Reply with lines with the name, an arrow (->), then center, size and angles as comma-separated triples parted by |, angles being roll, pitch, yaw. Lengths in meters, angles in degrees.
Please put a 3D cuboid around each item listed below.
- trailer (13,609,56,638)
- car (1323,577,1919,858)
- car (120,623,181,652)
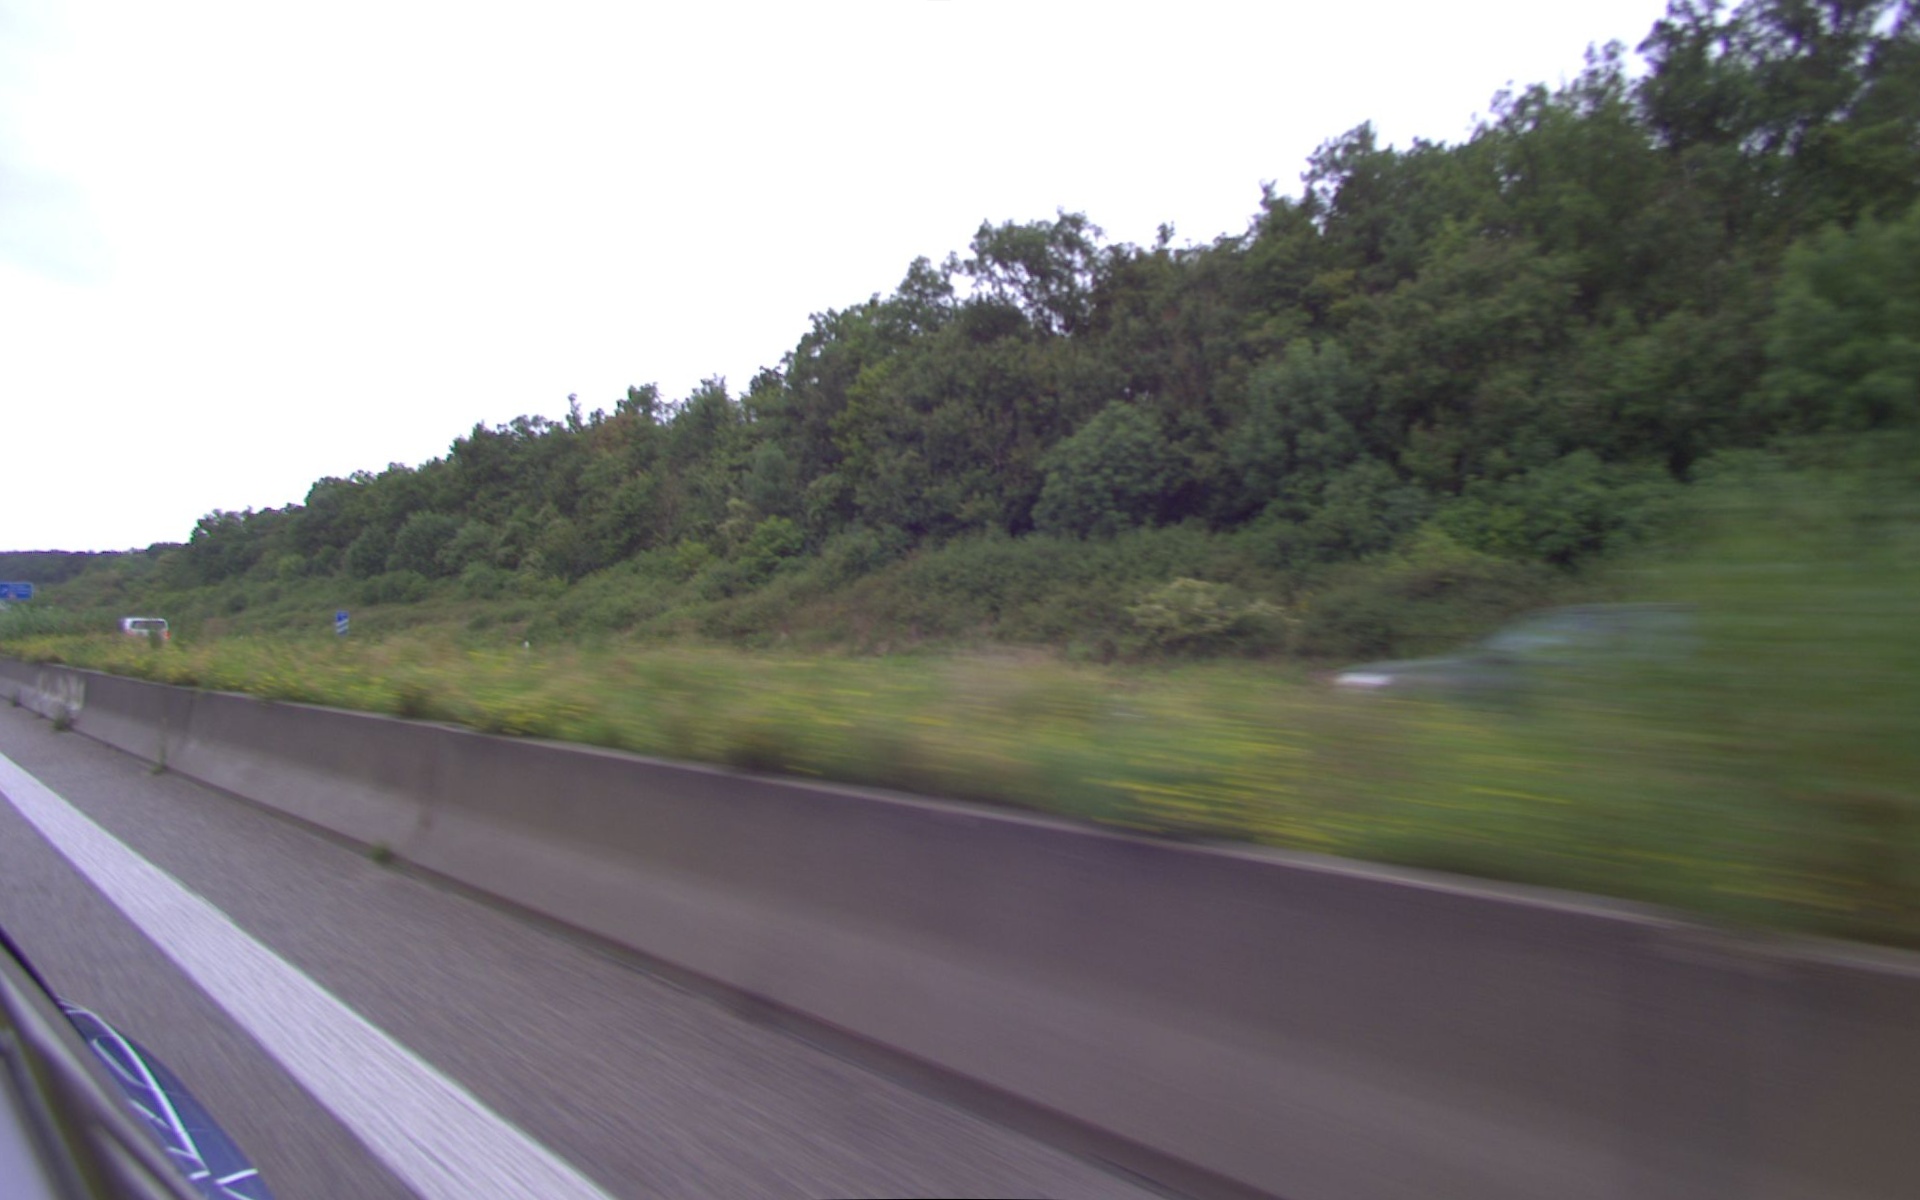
trailer -> -119.942, 3.039, 131.041 | 13.254, 3.512, 2.955 | -1, -2, 43
car -> 6.068, 0.907, 9.294 | 4.745, 2.029, 1.974 | -2, -2, 39
car -> -45.214, 2.095, 56.502 | 3.998, 1.519, 1.972 | -2, -2, 42
